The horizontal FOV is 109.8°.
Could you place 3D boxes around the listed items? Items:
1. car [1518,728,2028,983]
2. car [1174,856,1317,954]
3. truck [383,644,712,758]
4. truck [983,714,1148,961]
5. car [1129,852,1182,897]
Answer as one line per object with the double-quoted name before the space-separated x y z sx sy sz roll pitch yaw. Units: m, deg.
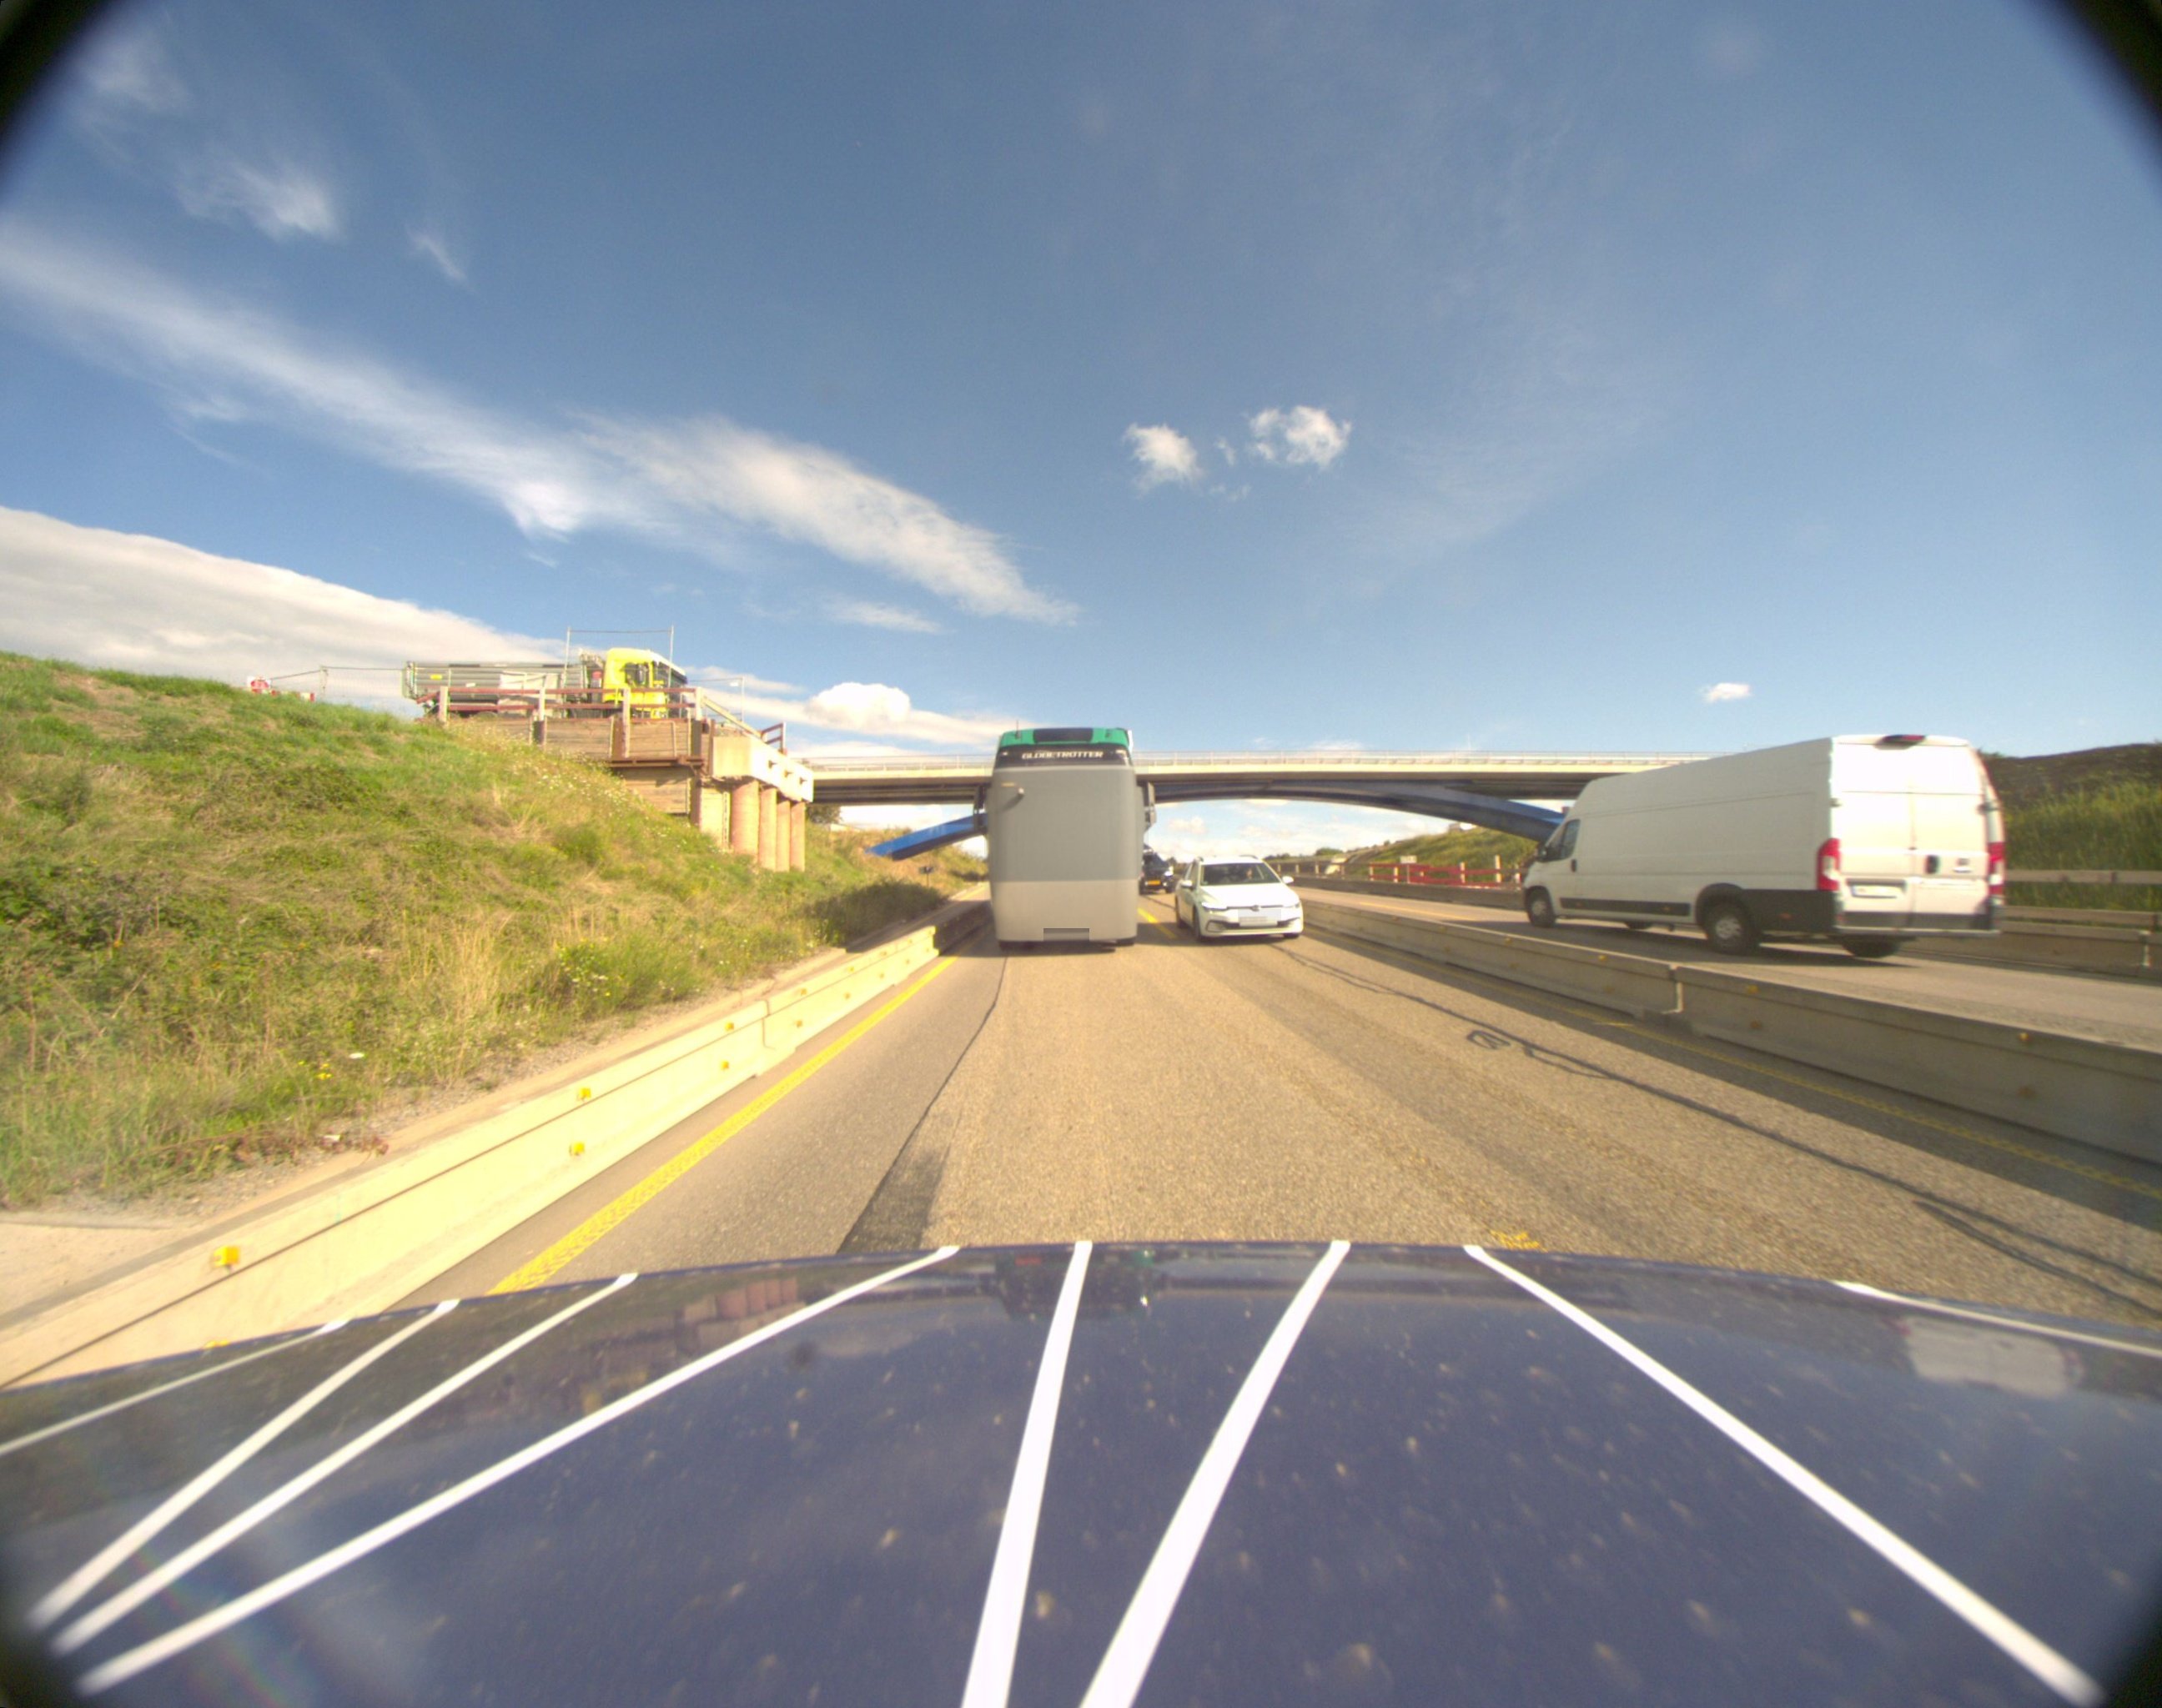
"car" 9.502 0.001 11.568 2.115 2.819 6.138 1 0 0
"car" 2.916 0.820 14.408 1.825 1.487 4.374 -2 0 2
"truck" -18.523 -5.320 26.893 9.289 3.209 2.959 -2 0 -2
"truck" -0.272 -0.259 16.364 2.546 3.899 8.279 -2 0 0
"car" 2.998 0.769 31.333 1.855 1.667 4.260 -2 0 2
